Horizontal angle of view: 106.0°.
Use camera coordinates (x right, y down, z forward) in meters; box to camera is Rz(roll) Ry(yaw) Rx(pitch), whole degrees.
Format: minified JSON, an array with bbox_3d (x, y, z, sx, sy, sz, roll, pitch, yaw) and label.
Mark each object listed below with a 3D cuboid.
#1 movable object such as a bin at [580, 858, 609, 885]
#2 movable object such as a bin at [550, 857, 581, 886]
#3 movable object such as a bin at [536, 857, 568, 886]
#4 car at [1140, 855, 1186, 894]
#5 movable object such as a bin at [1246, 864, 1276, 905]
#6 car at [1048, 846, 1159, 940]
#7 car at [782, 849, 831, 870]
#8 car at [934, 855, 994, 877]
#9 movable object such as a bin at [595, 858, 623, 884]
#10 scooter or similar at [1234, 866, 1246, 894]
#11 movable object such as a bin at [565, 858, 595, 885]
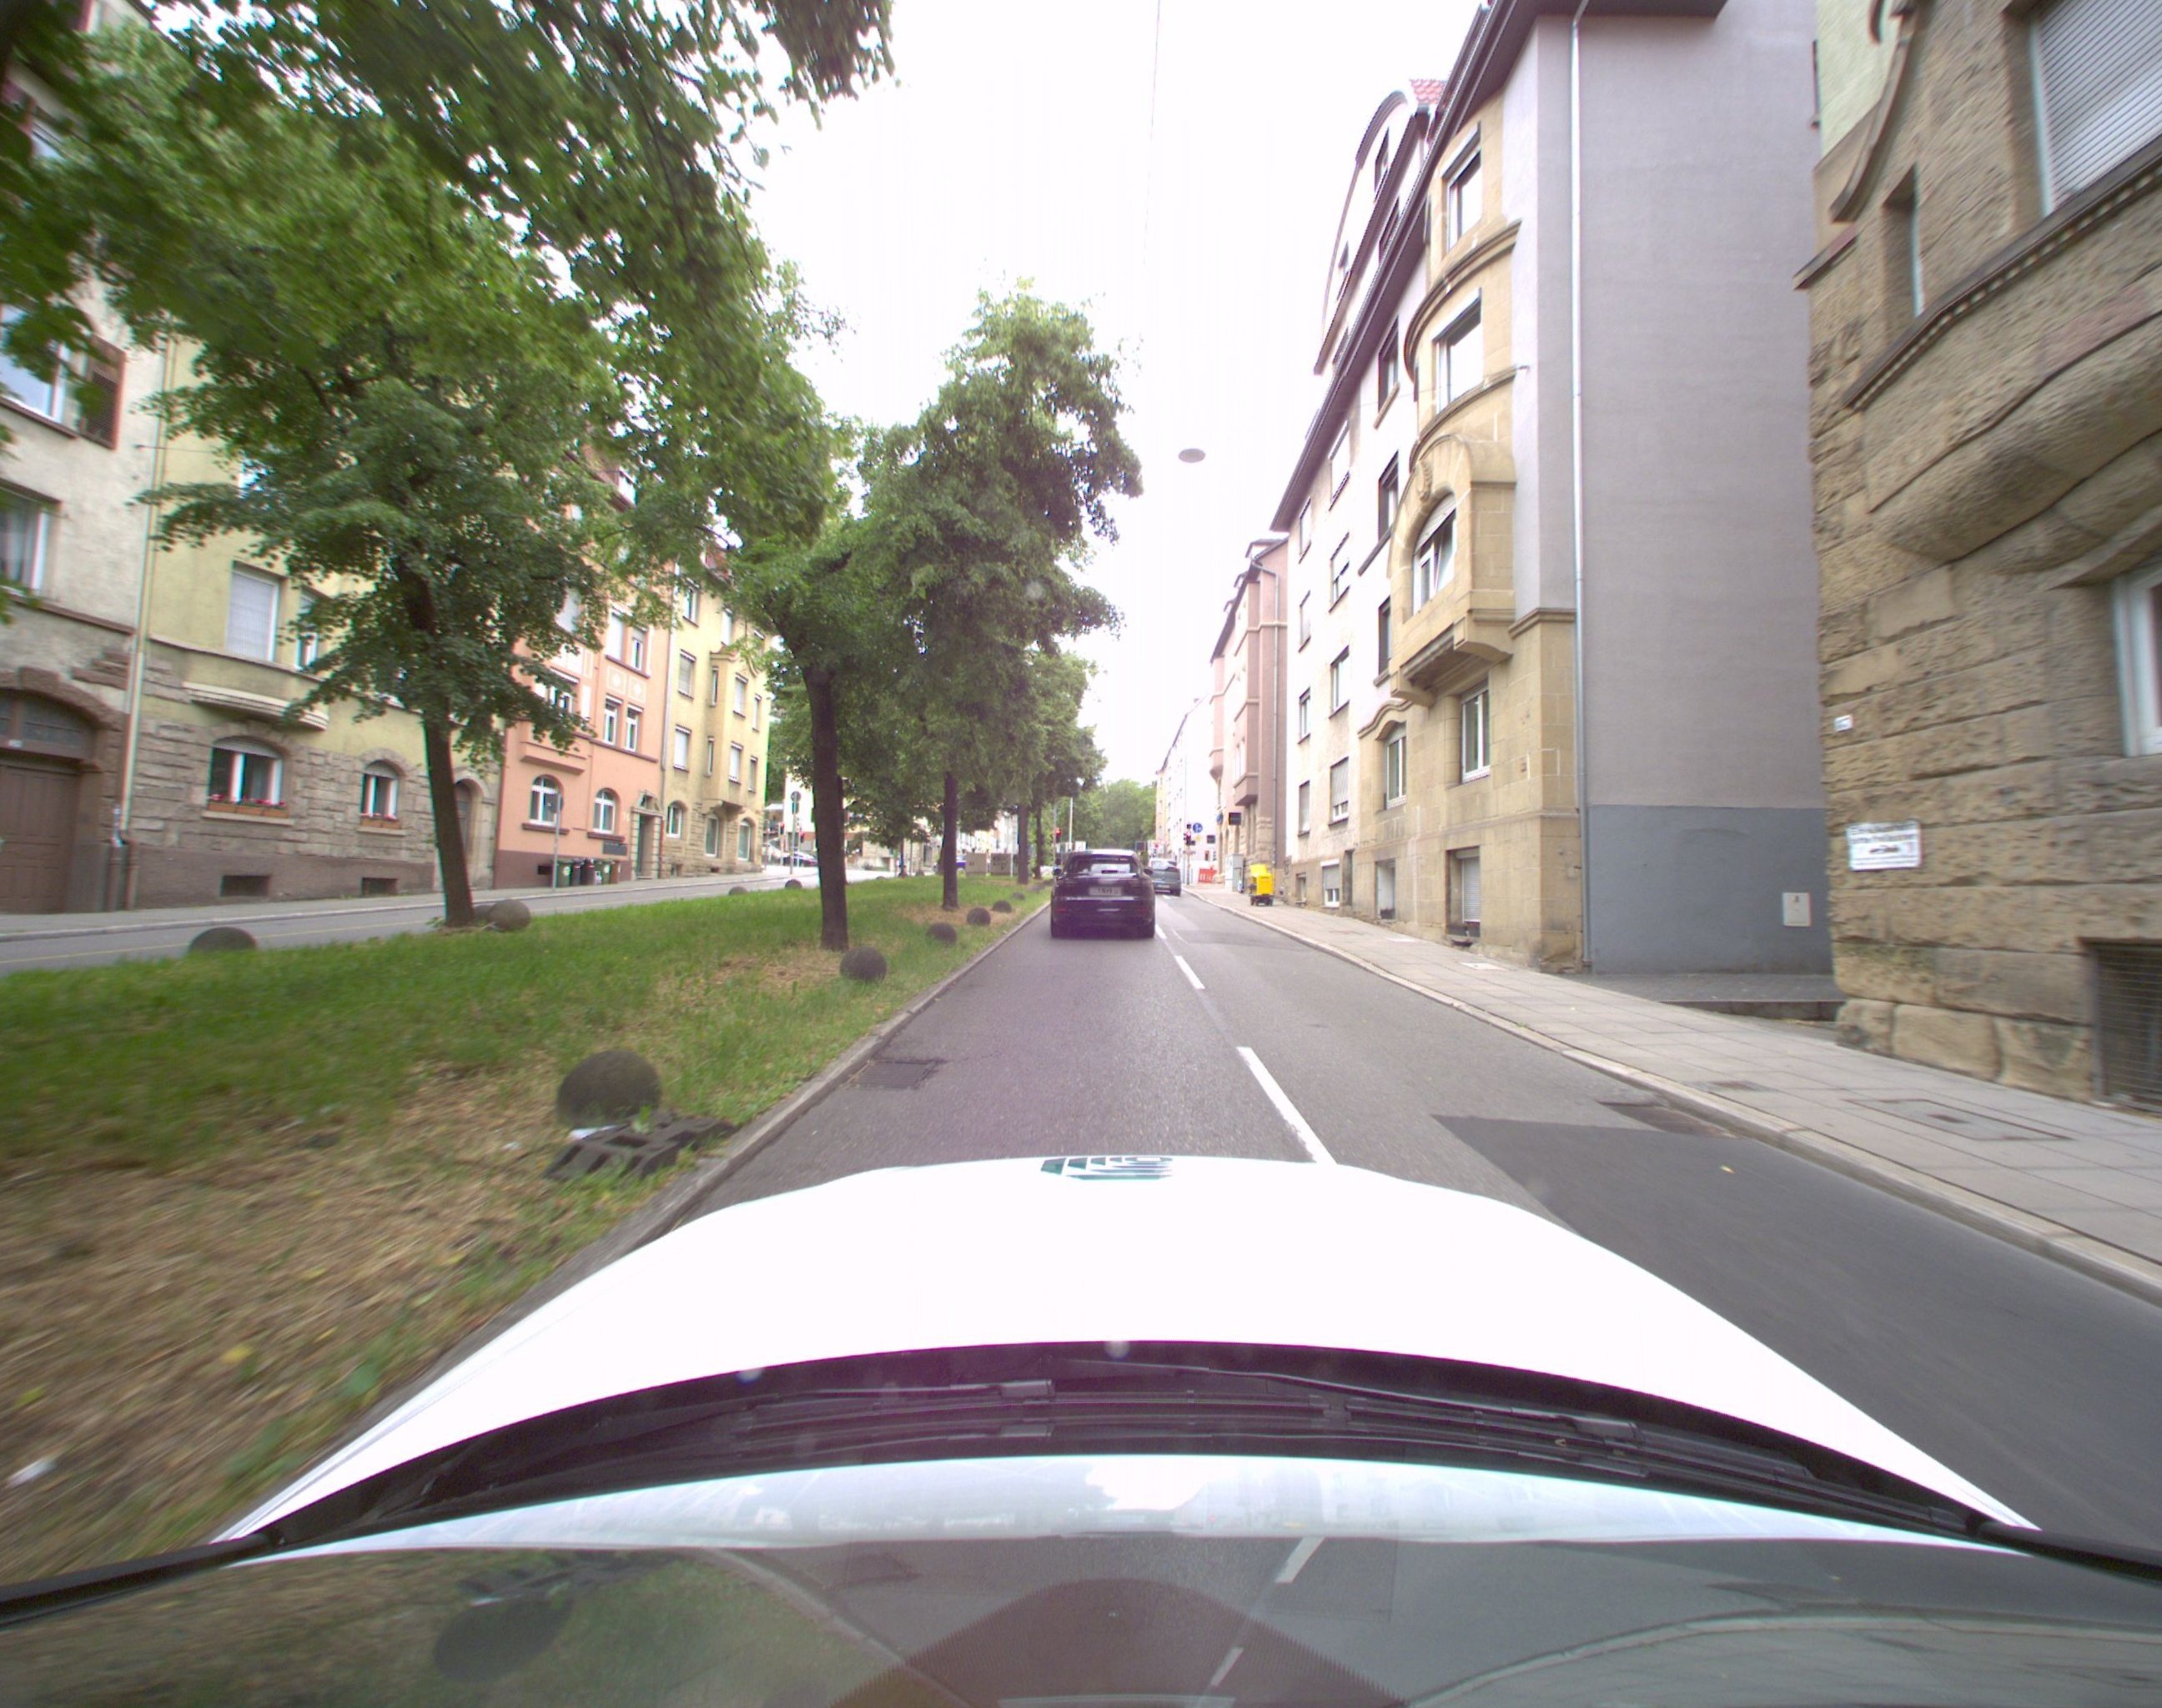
[{"bbox_3d":[-16.908,0.595,28.311,0.607,0.904,0.601,2,-1,-2],"label":"movable object such as a bin"},{"bbox_3d":[-16.958,0.576,26.794,0.607,0.904,0.601,2,-1,-2],"label":"movable object such as a bin"},{"bbox_3d":[-16.991,0.561,26.158,0.607,0.904,0.601,2,-1,-2],"label":"movable object such as a bin"},{"bbox_3d":[3.728,0.918,37.360,1.746,1.593,3.631,3,0,1],"label":"car"},{"bbox_3d":[6.473,1.081,29.379,0.717,1.421,1.693,0,-2,0],"label":"movable object such as a bin"},{"bbox_3d":[0.491,0.694,16.589,1.986,1.653,4.003,0,0,3],"label":"car"},{"bbox_3d":[-23.554,0.482,69.877,3.948,1.665,1.894,0,-3,35],"label":"car"},{"bbox_3d":[-8.841,0.869,61.764,4.191,1.510,1.800,2,0,0],"label":"car"},{"bbox_3d":[-16.808,0.608,28.984,0.607,0.904,0.601,2,-1,-2],"label":"movable object such as a bin"},{"bbox_3d":[7.195,1.154,36.924,0.399,1.188,1.356,0,1,6],"label":"scooter or similar"},{"bbox_3d":[-16.912,0.590,27.492,0.607,0.904,0.601,2,-1,-2],"label":"movable object such as a bin"}]
